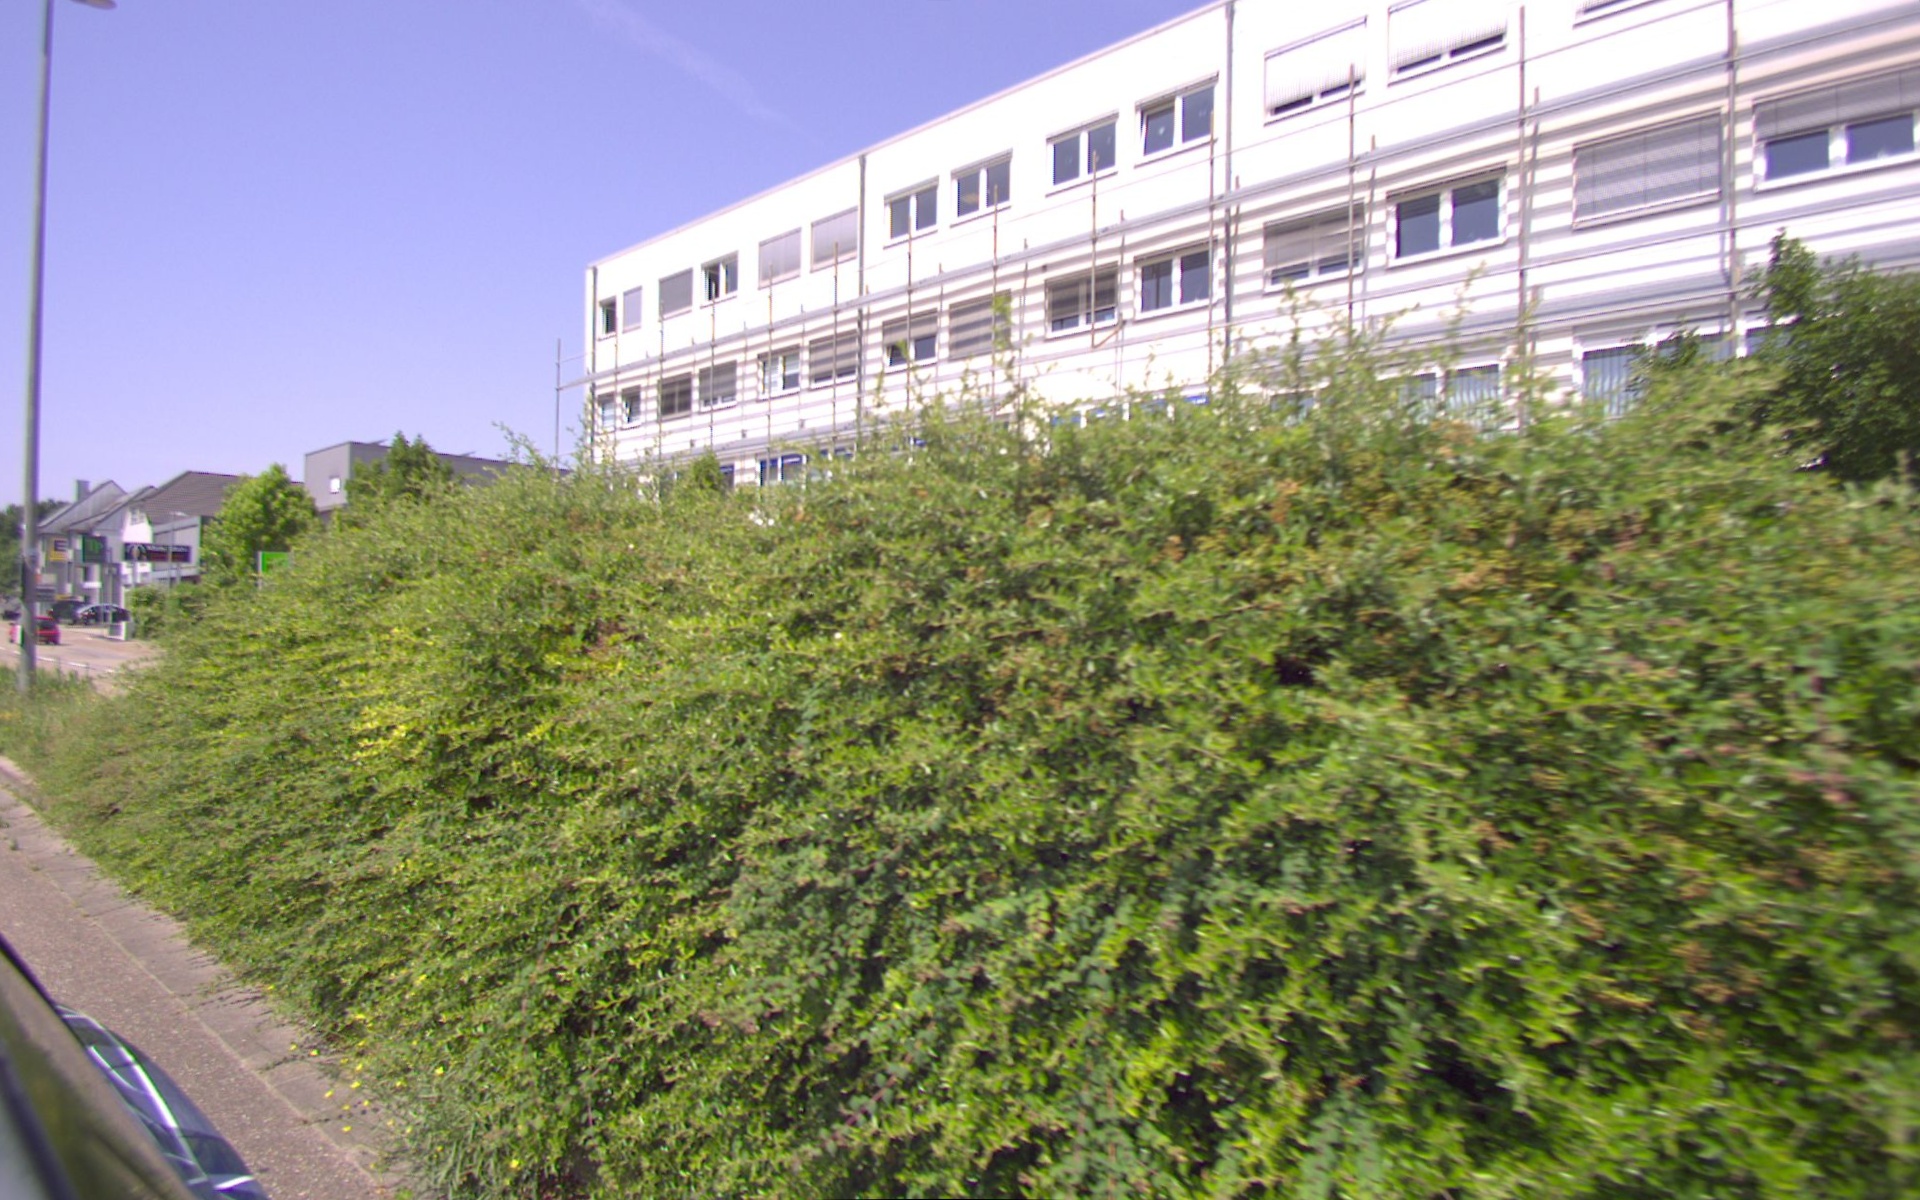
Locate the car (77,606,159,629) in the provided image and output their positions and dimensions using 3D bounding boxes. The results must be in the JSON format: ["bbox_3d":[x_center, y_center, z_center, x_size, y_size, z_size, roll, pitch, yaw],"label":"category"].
[{"bbox_3d":[-65.256,1.362,78.498,1.746,1.507,4.573,0,2,31],"label":"car"}]

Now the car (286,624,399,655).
[{"bbox_3d":[-27.074,1.747,44.471,1.857,1.240,3.801,-1,-3,38],"label":"car"}]

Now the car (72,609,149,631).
[{"bbox_3d":[-63.682,1.495,75.905,1.996,1.532,4.020,1,-1,36],"label":"car"}]

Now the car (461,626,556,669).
[{"bbox_3d":[-16.762,1.754,37.535,3.794,1.478,1.643,-1,-4,39],"label":"car"}]

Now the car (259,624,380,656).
[{"bbox_3d":[-29.047,1.829,45.994,1.978,1.359,4.182,-1,-3,38],"label":"car"}]

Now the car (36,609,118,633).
[{"bbox_3d":[-68.618,1.597,78.718,1.852,1.639,4.561,0,2,39],"label":"car"}]

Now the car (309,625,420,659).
[{"bbox_3d":[-25.013,1.781,42.596,1.779,1.375,3.620,-1,-3,40],"label":"car"}]

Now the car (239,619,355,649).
[{"bbox_3d":[-31.229,1.618,47.771,2.039,1.352,4.110,-1,-3,37],"label":"car"}]

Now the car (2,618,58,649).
[{"bbox_3d":[-46.408,1.659,50.491,3.448,1.435,1.614,0,-3,40],"label":"car"}]

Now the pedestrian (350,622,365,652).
[{"bbox_3d":[-34.658,2.122,58.226,0.624,1.669,0.540,2,1,38],"label":"pedestrian"}]
